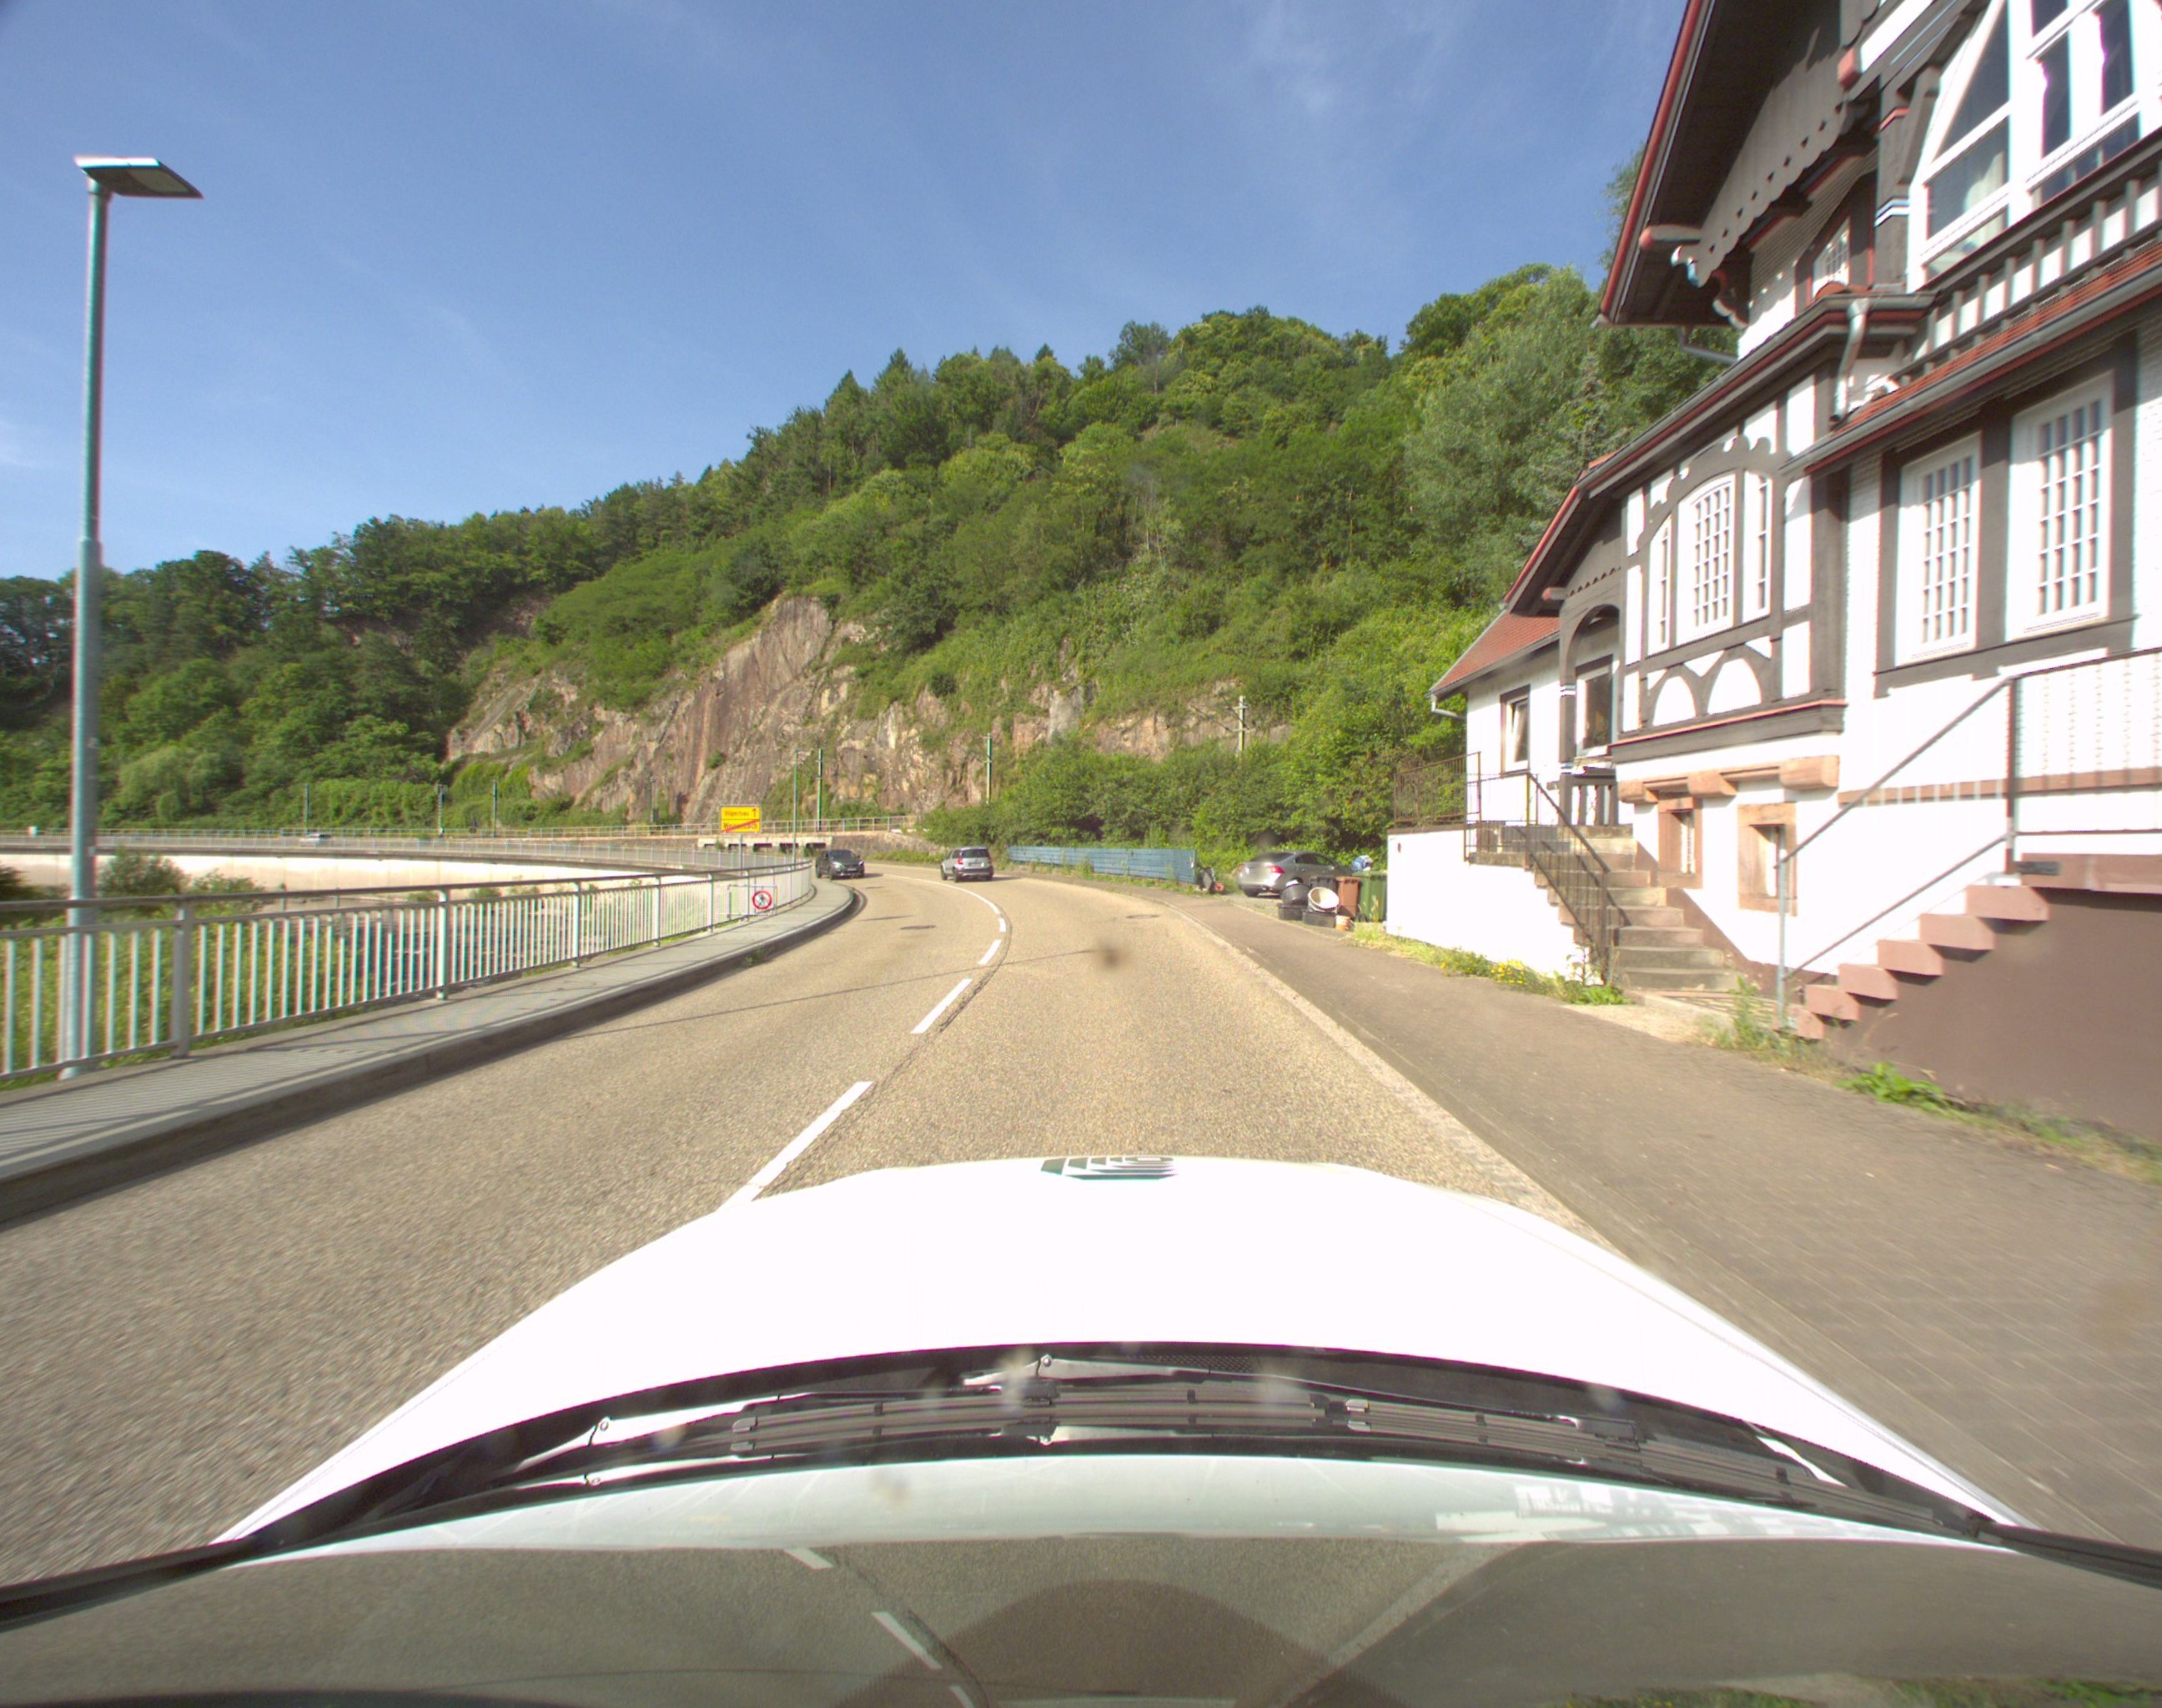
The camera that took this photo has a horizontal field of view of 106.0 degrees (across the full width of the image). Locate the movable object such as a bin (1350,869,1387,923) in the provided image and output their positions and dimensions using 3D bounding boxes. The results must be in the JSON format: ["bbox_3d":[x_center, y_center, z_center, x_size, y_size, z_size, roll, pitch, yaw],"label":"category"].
[{"bbox_3d":[5.969,0.859,16.951,0.476,1.062,0.752,1,0,-2],"label":"movable object such as a bin"}]

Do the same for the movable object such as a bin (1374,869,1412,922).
[{"bbox_3d":[6.543,0.859,17.114,0.476,1.062,0.752,1,0,-2],"label":"movable object such as a bin"}]

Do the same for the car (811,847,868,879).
[{"bbox_3d":[-13.520,0.473,45.492,1.829,1.642,3.957,-4,3,-35],"label":"car"}]

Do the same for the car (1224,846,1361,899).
[{"bbox_3d":[6.464,0.551,24.711,4.351,1.469,1.816,1,-1,-40],"label":"car"}]

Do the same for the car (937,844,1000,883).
[{"bbox_3d":[-5.379,0.420,38.518,1.881,1.655,3.969,-3,2,-24],"label":"car"}]

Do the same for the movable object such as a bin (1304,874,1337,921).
[{"bbox_3d":[5.022,0.904,17.115,0.470,0.937,0.652,1,0,-2],"label":"movable object such as a bin"}]

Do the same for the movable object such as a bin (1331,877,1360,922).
[{"bbox_3d":[5.515,0.937,16.989,0.367,0.900,0.546,1,0,-8],"label":"movable object such as a bin"}]

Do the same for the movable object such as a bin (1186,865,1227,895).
[{"bbox_3d":[3.999,0.824,26.150,0.852,0.847,2.537,2,0,-1],"label":"movable object such as a bin"}]
